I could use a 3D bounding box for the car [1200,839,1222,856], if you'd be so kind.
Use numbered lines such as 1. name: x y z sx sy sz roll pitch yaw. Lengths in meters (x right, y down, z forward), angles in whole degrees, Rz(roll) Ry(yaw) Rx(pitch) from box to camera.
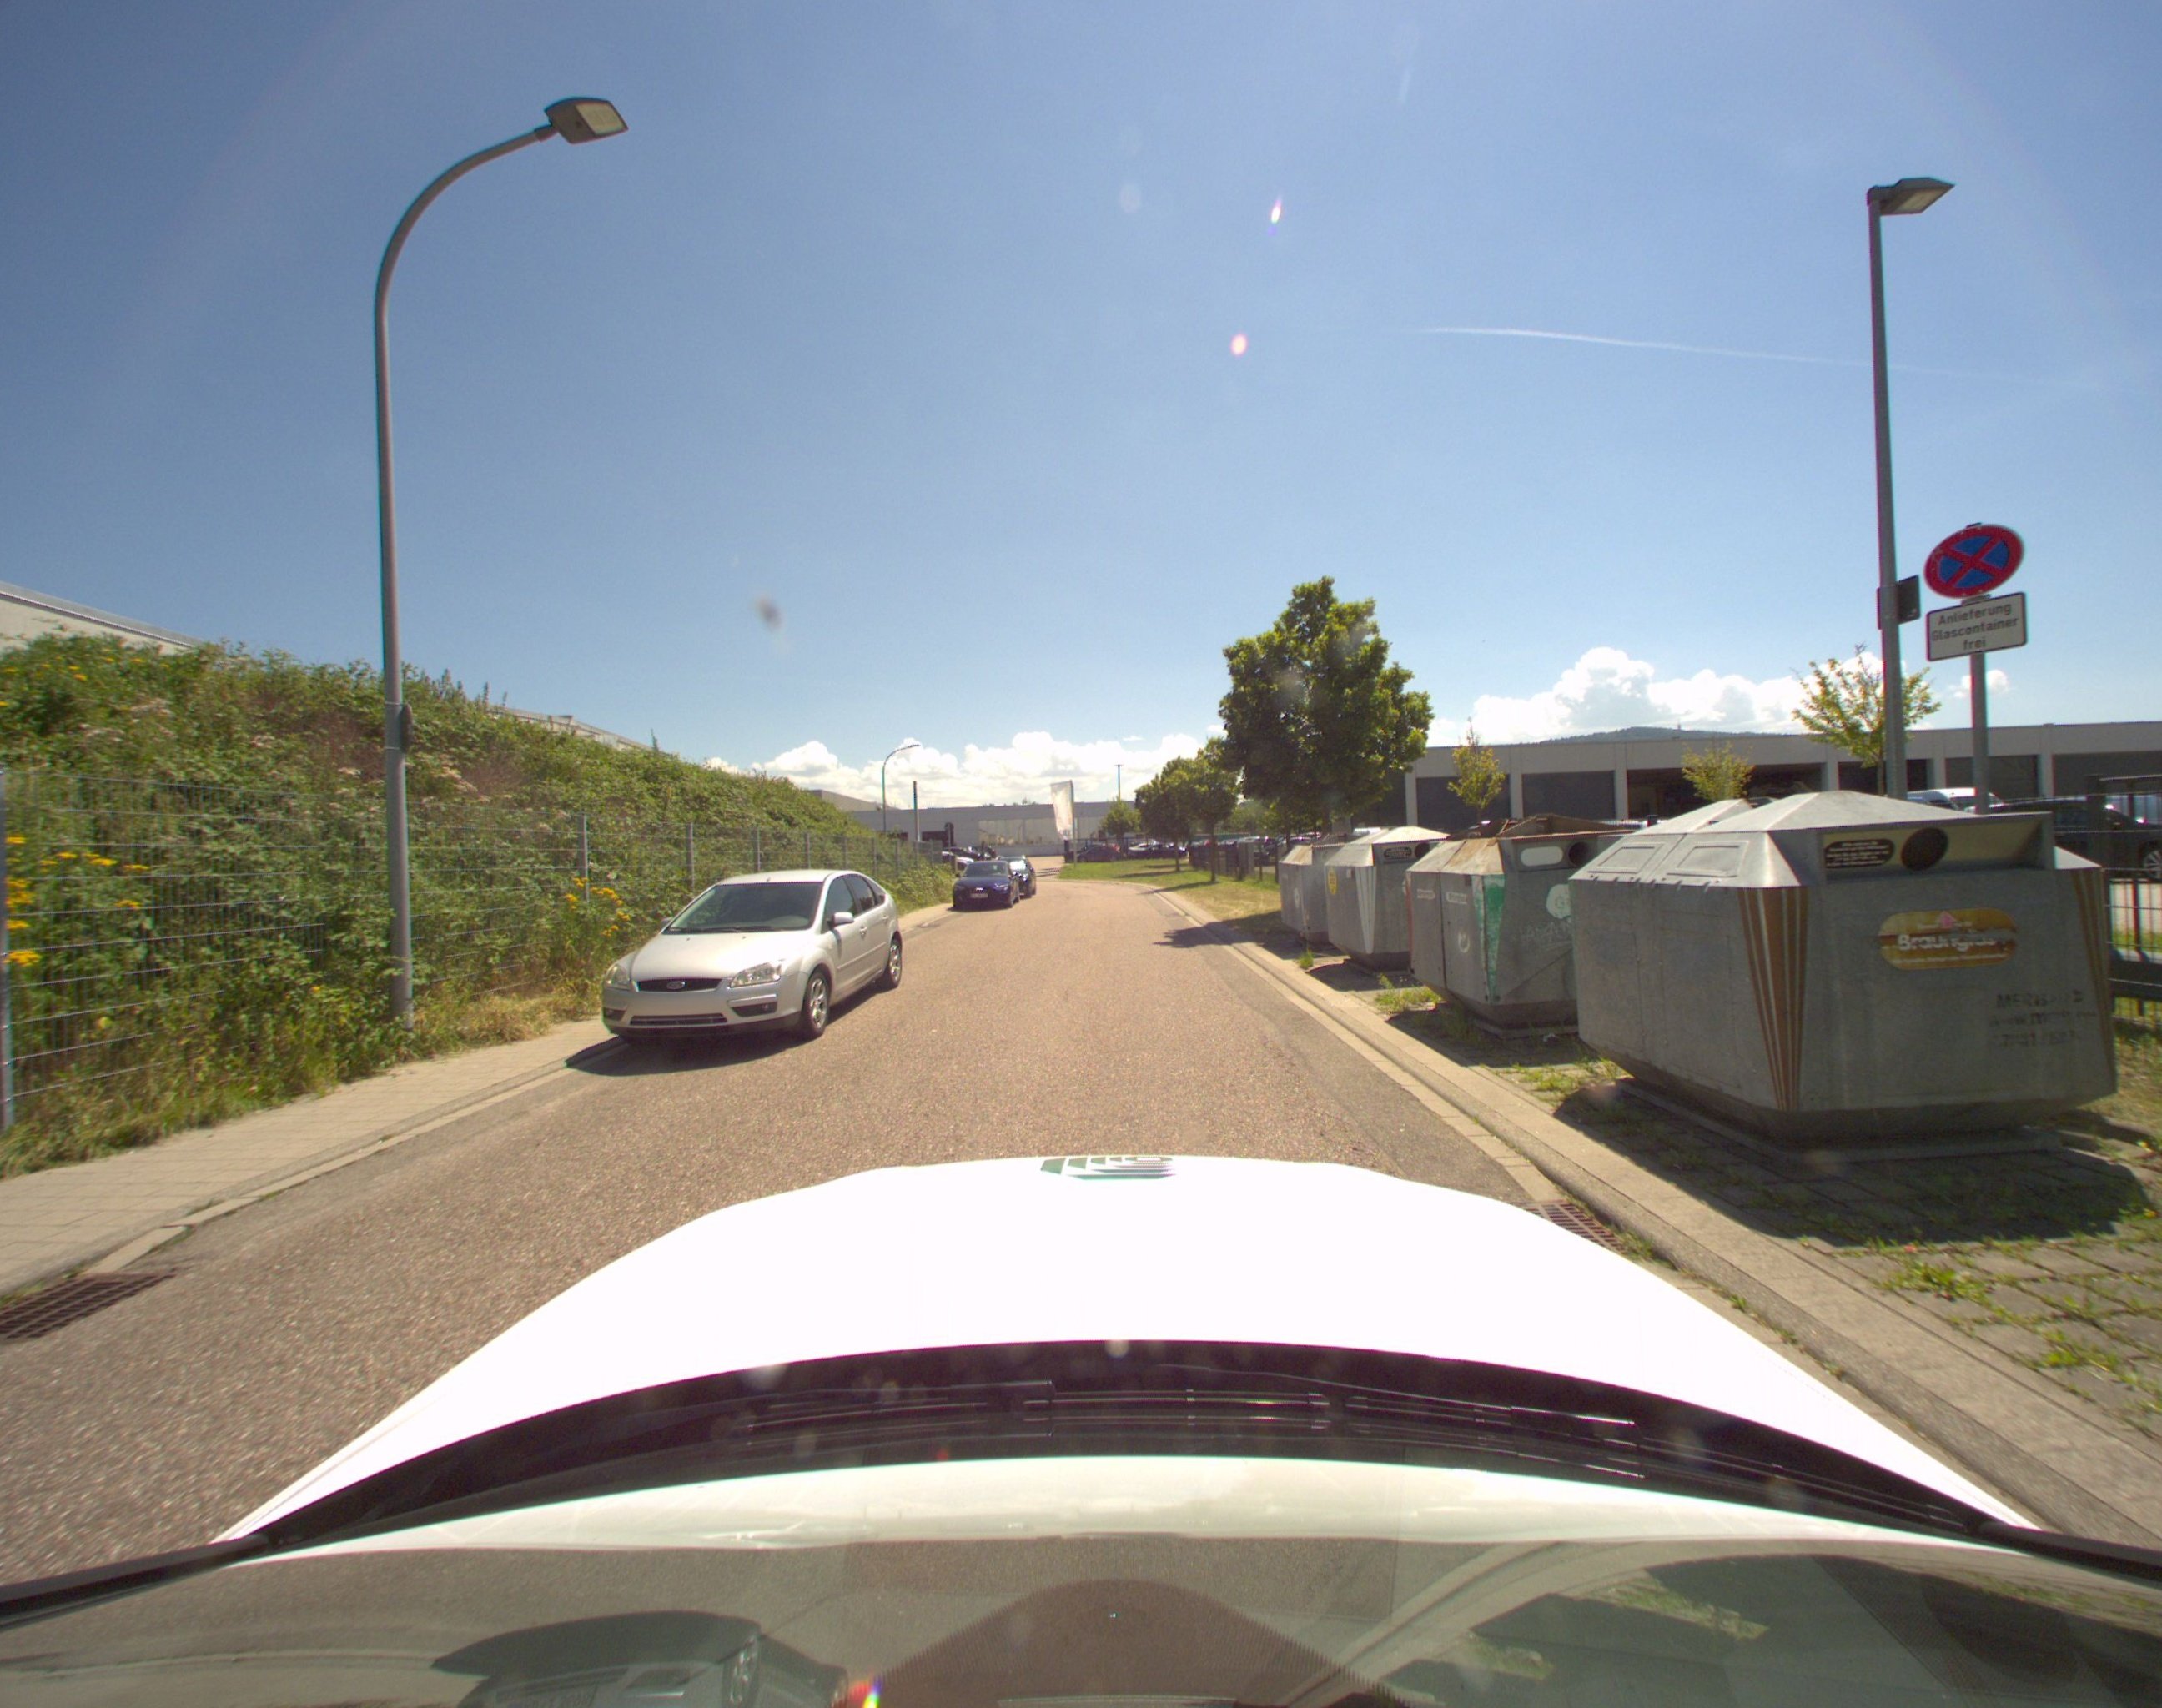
1. car: 15.848 -0.763 99.530 1.986 1.827 4.000 -2 -2 1

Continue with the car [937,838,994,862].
1. car: -10.541 -0.382 74.629 4.867 1.922 2.000 -3 0 0

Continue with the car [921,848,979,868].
1. car: -10.788 0.318 67.350 4.424 1.398 1.999 -2 -2 -1

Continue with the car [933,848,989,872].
1. car: -10.549 0.519 71.931 4.571 1.922 2.000 -3 0 0

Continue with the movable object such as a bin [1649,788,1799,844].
1. movable object such as a bin: 39.756 -2.250 50.801 3.529 2.994 7.318 -3 0 0

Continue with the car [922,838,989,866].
1. car: -10.748 -0.152 69.899 5.300 2.097 2.000 -3 0 0

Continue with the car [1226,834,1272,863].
1. car: 9.576 -0.318 46.724 1.731 1.522 3.893 -3 0 -1

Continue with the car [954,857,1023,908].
1. car: -2.852 0.849 25.903 1.651 1.417 4.144 -3 0 0

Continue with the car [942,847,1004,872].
1. car: -8.169 0.447 61.949 4.424 1.626 1.999 -2 -2 -1

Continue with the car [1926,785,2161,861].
1. car: 22.532 -0.645 18.761 1.784 1.462 4.098 -2 -2 -1

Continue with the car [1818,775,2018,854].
1. car: 32.392 -1.421 31.846 1.875 2.478 5.501 -3 -3 -1

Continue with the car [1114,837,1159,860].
1. car: 5.156 -0.508 75.901 3.975 1.827 1.999 -2 -2 -1

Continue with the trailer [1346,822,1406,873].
1. trailer: 12.645 -0.335 35.037 1.487 2.006 3.267 -3 2 3

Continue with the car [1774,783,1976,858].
1. car: 29.608 -1.143 30.738 1.875 2.263 5.652 -3 -3 -1

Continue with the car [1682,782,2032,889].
1. car: 12.482 -0.197 13.562 1.784 1.433 4.141 -2 -2 -1

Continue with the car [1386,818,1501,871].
1. car: 12.574 -0.273 28.592 1.875 1.523 4.465 -3 -3 -1

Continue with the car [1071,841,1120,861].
1. car: 1.224 -0.255 67.872 3.975 1.398 1.999 -2 -2 -1

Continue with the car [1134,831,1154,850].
1. car: 7.233 -1.534 94.168 1.986 1.827 4.000 -2 -2 1

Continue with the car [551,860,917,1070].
1. car: -3.189 0.897 8.627 1.827 1.546 4.369 -3 0 2

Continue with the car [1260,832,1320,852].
1. car: 17.226 -0.993 67.240 4.424 1.398 1.999 -2 -2 -1

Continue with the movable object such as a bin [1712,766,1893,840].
1. movable object such as a bin: 44.558 -2.971 50.820 3.529 3.974 8.666 -3 0 0

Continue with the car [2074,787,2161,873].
1. car: 19.526 -0.487 13.192 1.784 1.462 4.098 -2 -2 -1

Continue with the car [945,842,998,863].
1. car: -10.833 -0.150 80.611 4.867 1.922 2.000 -3 0 0

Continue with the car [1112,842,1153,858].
1. car: 5.111 -0.404 81.553 3.975 1.398 1.999 -2 -2 -1

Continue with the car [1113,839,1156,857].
1. car: 5.125 -0.571 78.069 3.975 1.398 1.999 -2 -2 -1

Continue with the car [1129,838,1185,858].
1. car: 6.320 -0.483 67.858 4.424 1.398 1.999 -2 -2 -1

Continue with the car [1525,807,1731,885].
1. car: 12.511 -0.235 19.031 1.784 1.531 4.421 -2 2 -1

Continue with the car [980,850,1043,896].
1. car: -2.587 0.678 31.135 1.827 1.546 4.266 -3 0 2

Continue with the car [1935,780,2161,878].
1. car: 17.104 -0.378 13.368 1.784 1.462 4.098 -2 -2 -1

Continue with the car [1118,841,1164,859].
1. car: 5.317 -0.353 72.631 3.975 1.398 1.999 -2 -1 -1
